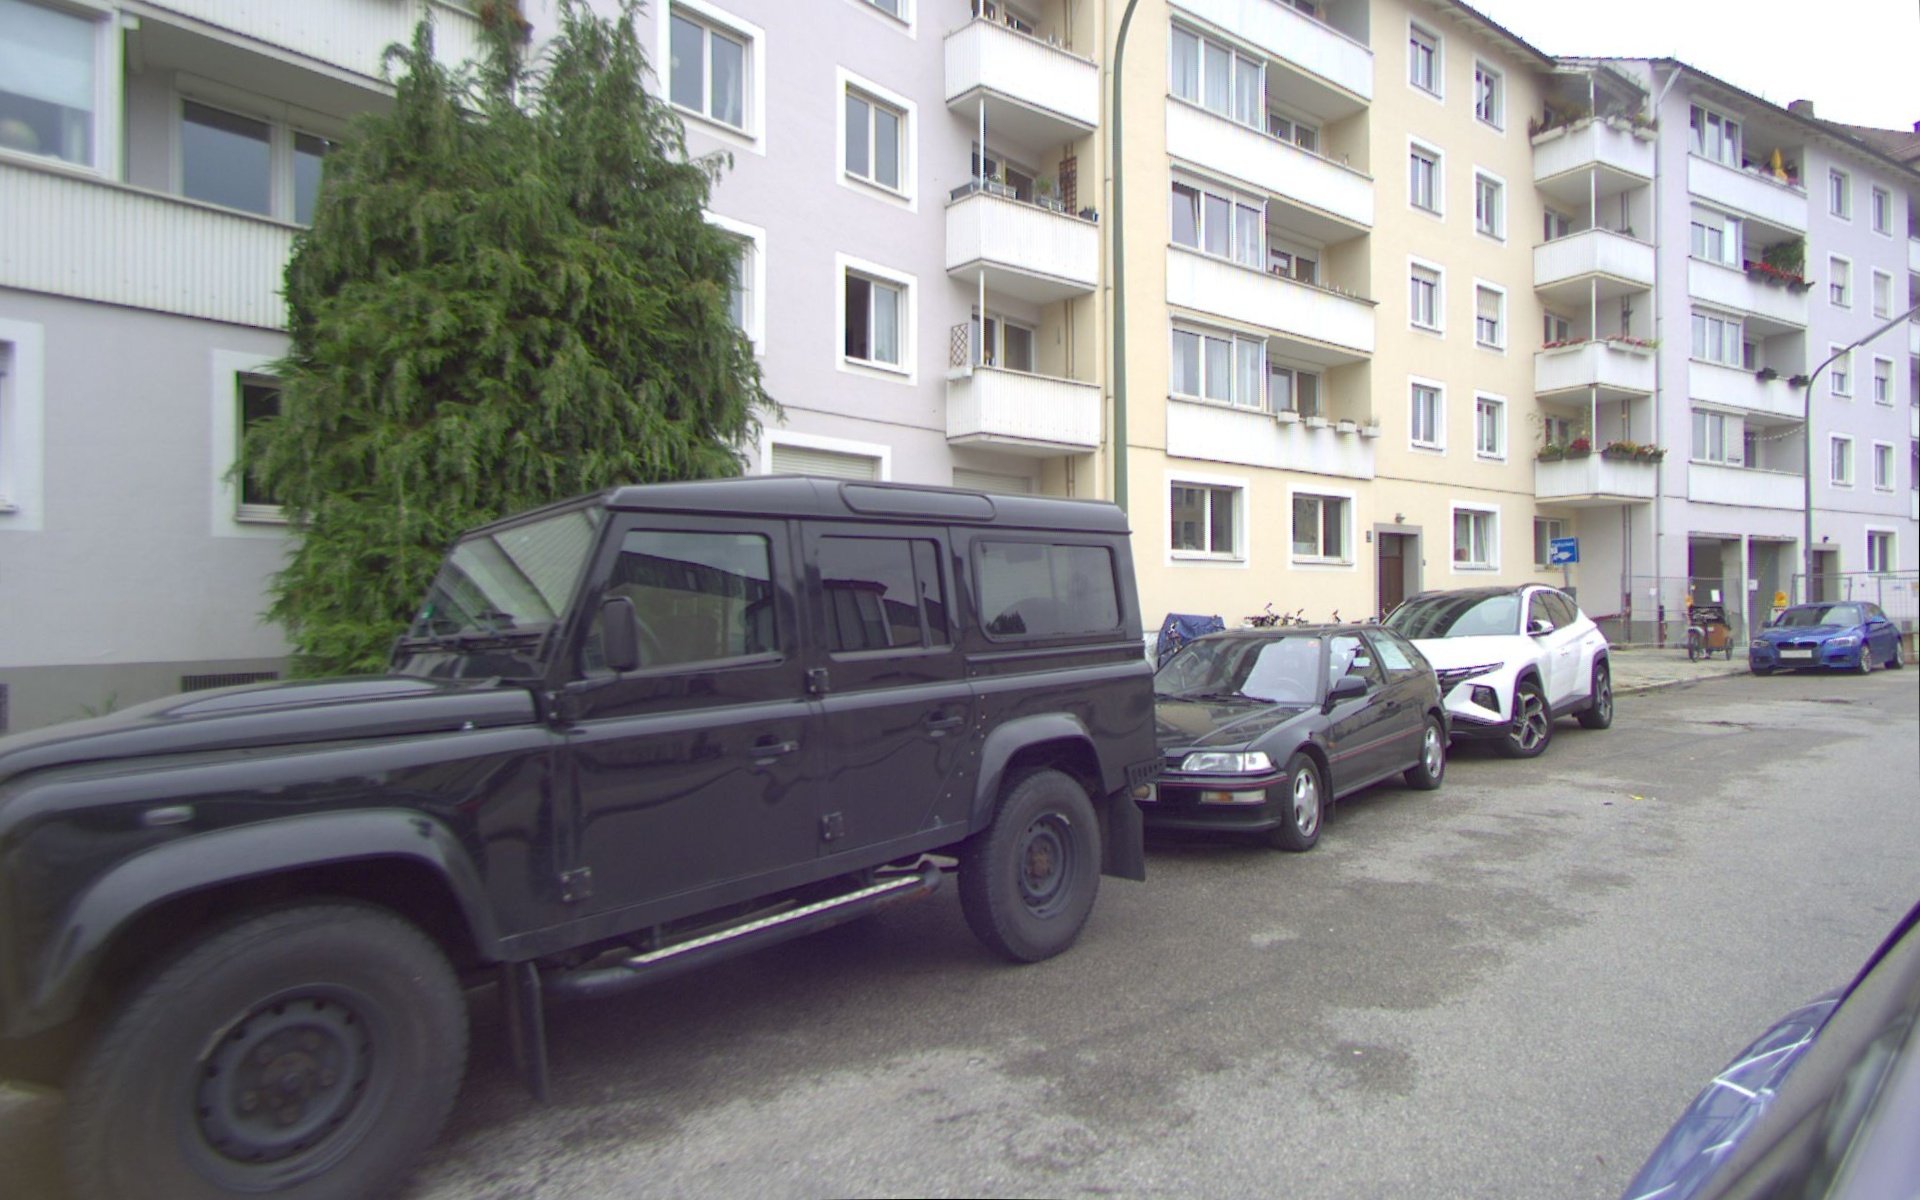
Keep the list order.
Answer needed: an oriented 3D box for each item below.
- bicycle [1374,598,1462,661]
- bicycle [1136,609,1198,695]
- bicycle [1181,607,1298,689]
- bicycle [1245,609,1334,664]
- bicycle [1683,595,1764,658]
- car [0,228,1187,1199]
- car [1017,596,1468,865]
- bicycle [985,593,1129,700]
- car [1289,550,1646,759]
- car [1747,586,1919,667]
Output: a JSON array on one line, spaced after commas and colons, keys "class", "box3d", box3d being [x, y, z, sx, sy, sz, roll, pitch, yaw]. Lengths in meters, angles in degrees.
[{"class": "bicycle", "box3d": [9.507, 0.584, 21.055, 0.424, 1.237, 1.706, 1, 0, -34]}, {"class": "bicycle", "box3d": [3.216, 0.757, 15.612, 0.571, 1.172, 1.819, 2, 2, 22]}, {"class": "bicycle", "box3d": [4.505, 0.744, 16.416, 0.567, 1.172, 1.832, 0, 2, -37]}, {"class": "bicycle", "box3d": [5.980, 0.653, 18.412, 1.469, 0.868, 0.437, 4, 3, 45]}, {"class": "bicycle", "box3d": [17.512, 0.567, 23.181, 2.725, 1.339, 0.812, -1, 1, -38]}, {"class": "car", "box3d": [-1.088, 0.375, 3.959, 1.747, 2.109, 4.442, -3, -3, 45]}, {"class": "car", "box3d": [2.232, 0.709, 7.324, 1.656, 1.366, 3.748, -3, -1, 41]}, {"class": "bicycle", "box3d": [1.442, 0.611, 14.577, 0.742, 1.384, 2.434, 3, 3, 41]}, {"class": "car", "box3d": [5.463, 0.494, 10.589, 2.026, 1.700, 4.538, -3, -3, 44]}, {"class": "car", "box3d": [17.761, 0.537, 20.325, 4.541, 1.461, 1.835, 0, -4, -36]}]
